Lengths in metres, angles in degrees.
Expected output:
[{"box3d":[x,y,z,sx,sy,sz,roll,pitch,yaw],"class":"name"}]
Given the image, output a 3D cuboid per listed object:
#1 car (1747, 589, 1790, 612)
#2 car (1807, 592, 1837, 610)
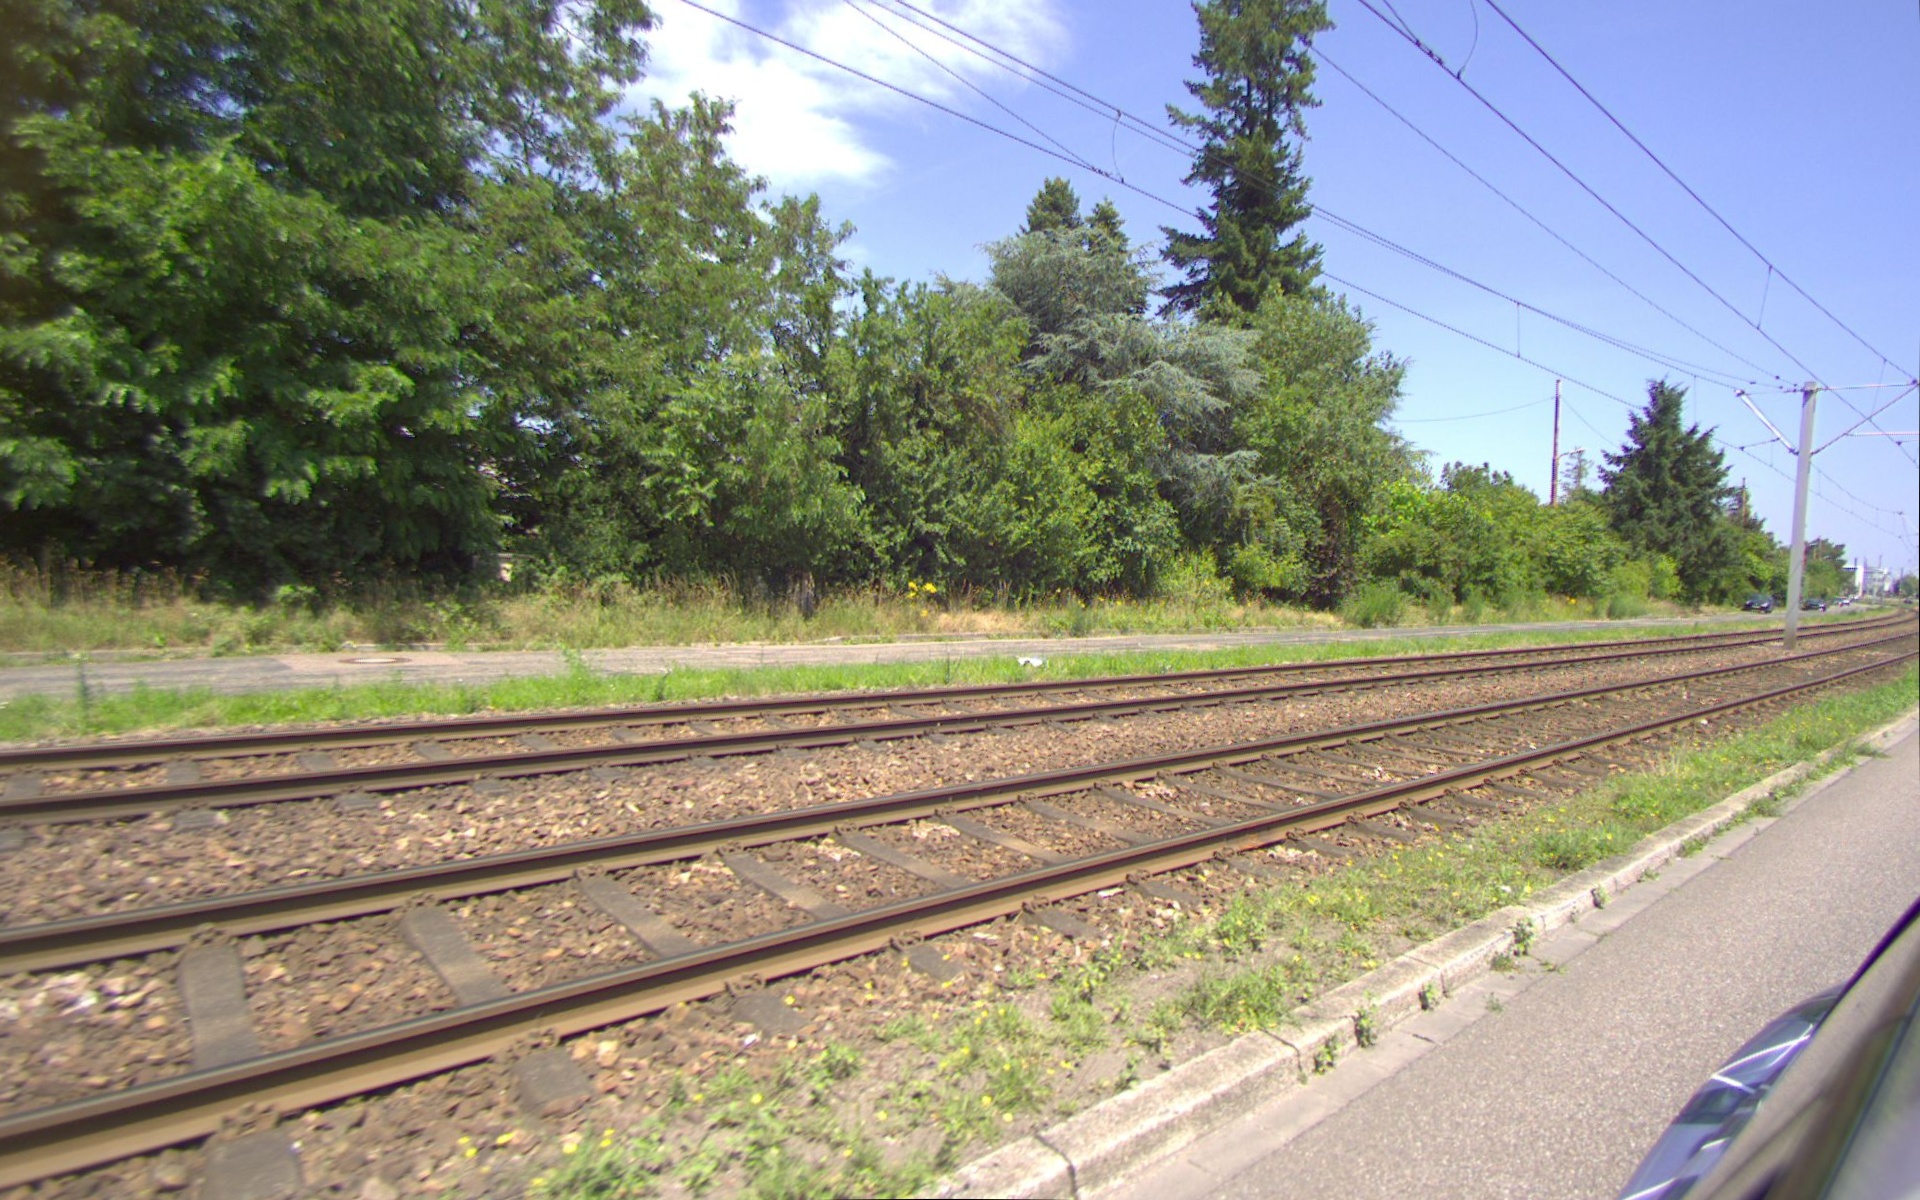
[{"box3d":[63.956,0.018,80.020,3.931,1.742,1.997,0,0,-41],"class":"car"},{"box3d":[86.408,0.098,101.430,3.935,1.716,1.942,0,0,-45],"class":"car"}]
